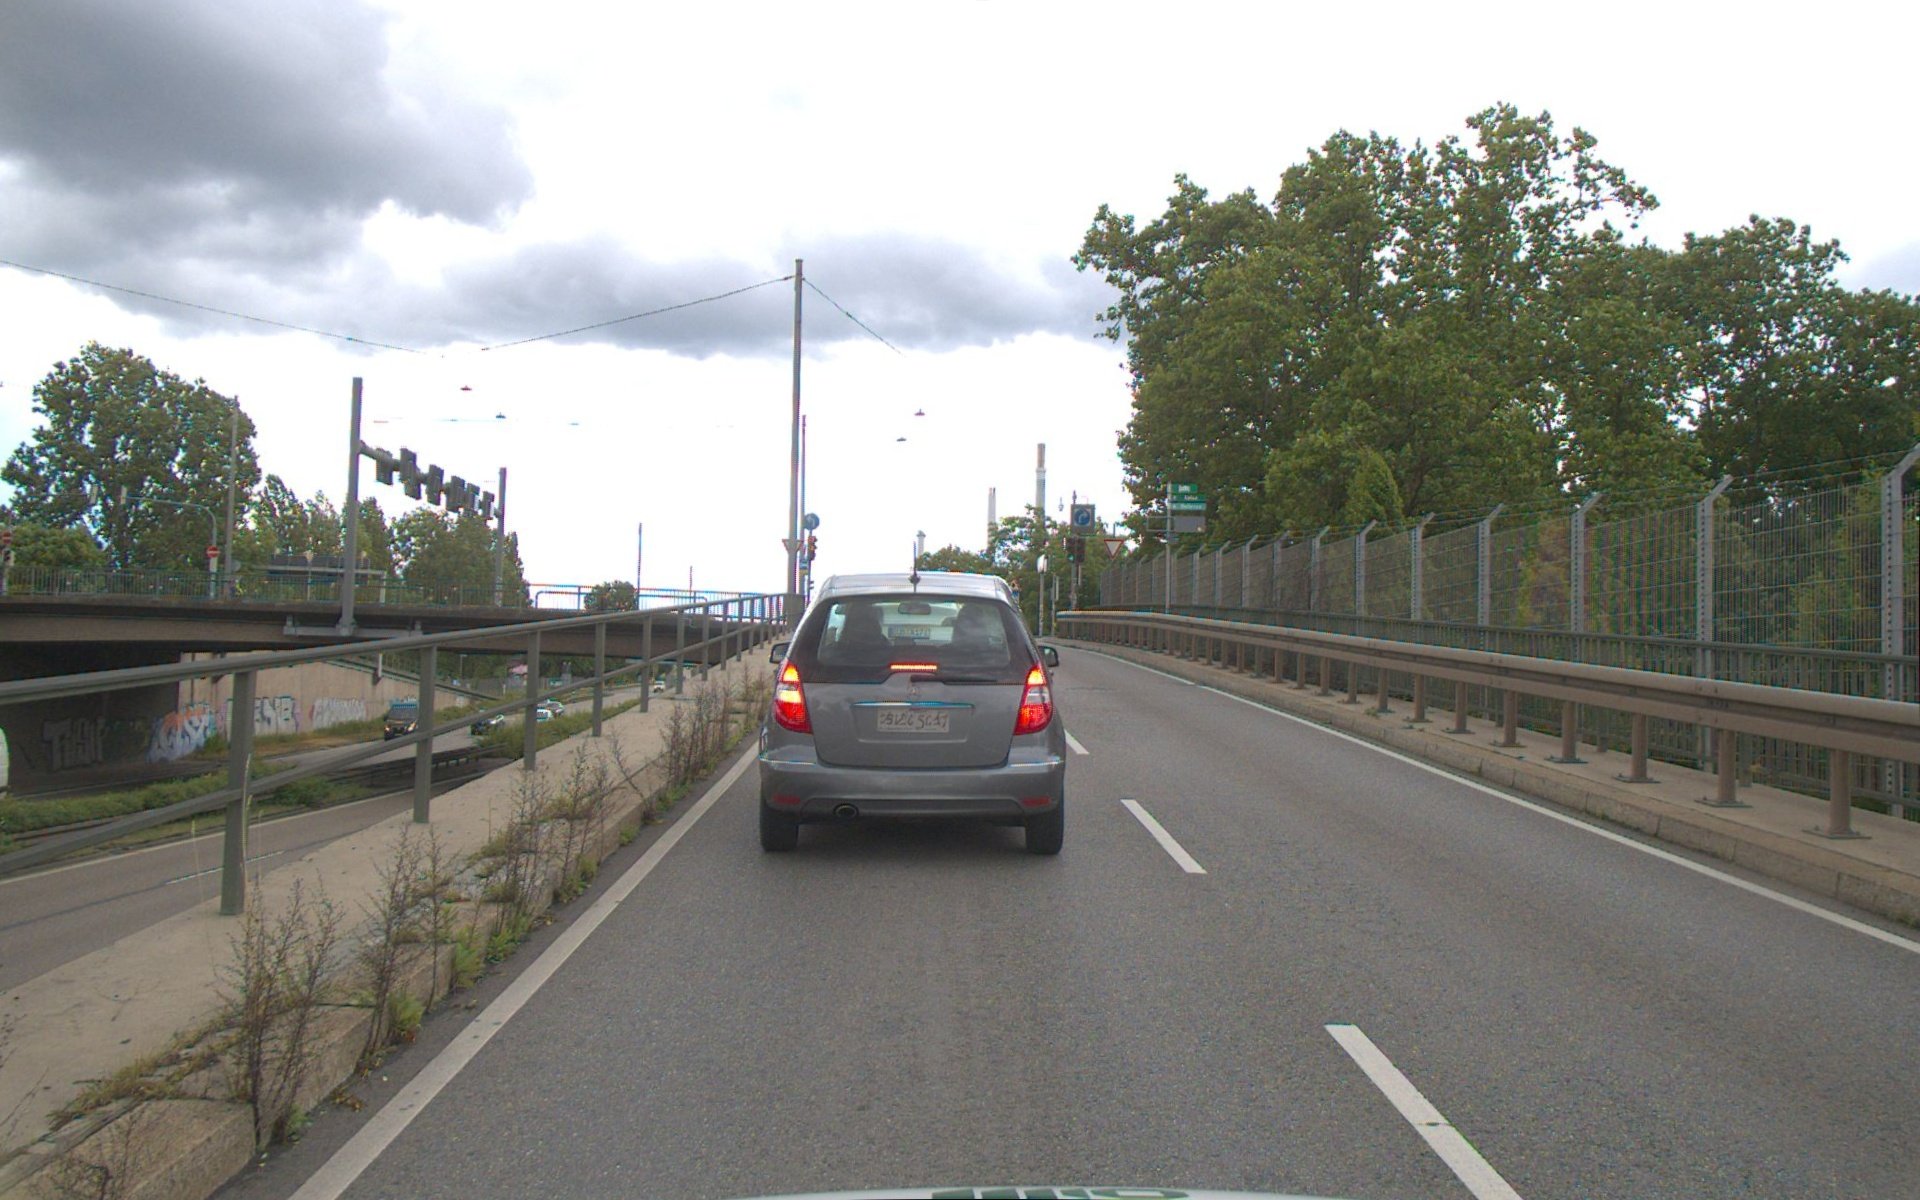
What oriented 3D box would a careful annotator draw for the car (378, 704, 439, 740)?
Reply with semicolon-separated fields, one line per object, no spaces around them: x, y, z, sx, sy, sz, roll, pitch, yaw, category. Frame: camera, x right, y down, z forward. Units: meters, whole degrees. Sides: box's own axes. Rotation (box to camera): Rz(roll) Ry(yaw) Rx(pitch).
-35.451;7.813;106.469;2.245;2.193;6.175;0;-3;-5;car

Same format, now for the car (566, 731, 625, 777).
-15.511;6.540;70.608;1.646;1.766;3.997;0;-3;-1;car

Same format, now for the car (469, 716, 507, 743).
-33.221;9.092;116.400;1.956;1.719;3.993;0;-2;-7;car

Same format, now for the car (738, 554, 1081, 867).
-0.122;0.571;10.679;1.713;1.608;4.087;1;0;5;car

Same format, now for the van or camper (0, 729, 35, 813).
-30.401;5.186;49.355;2.138;2.500;6.343;1;-3;-2;van or camper

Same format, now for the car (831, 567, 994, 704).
-0.612;0.386;21.865;1.953;1.631;4.000;0;1;-1;car
